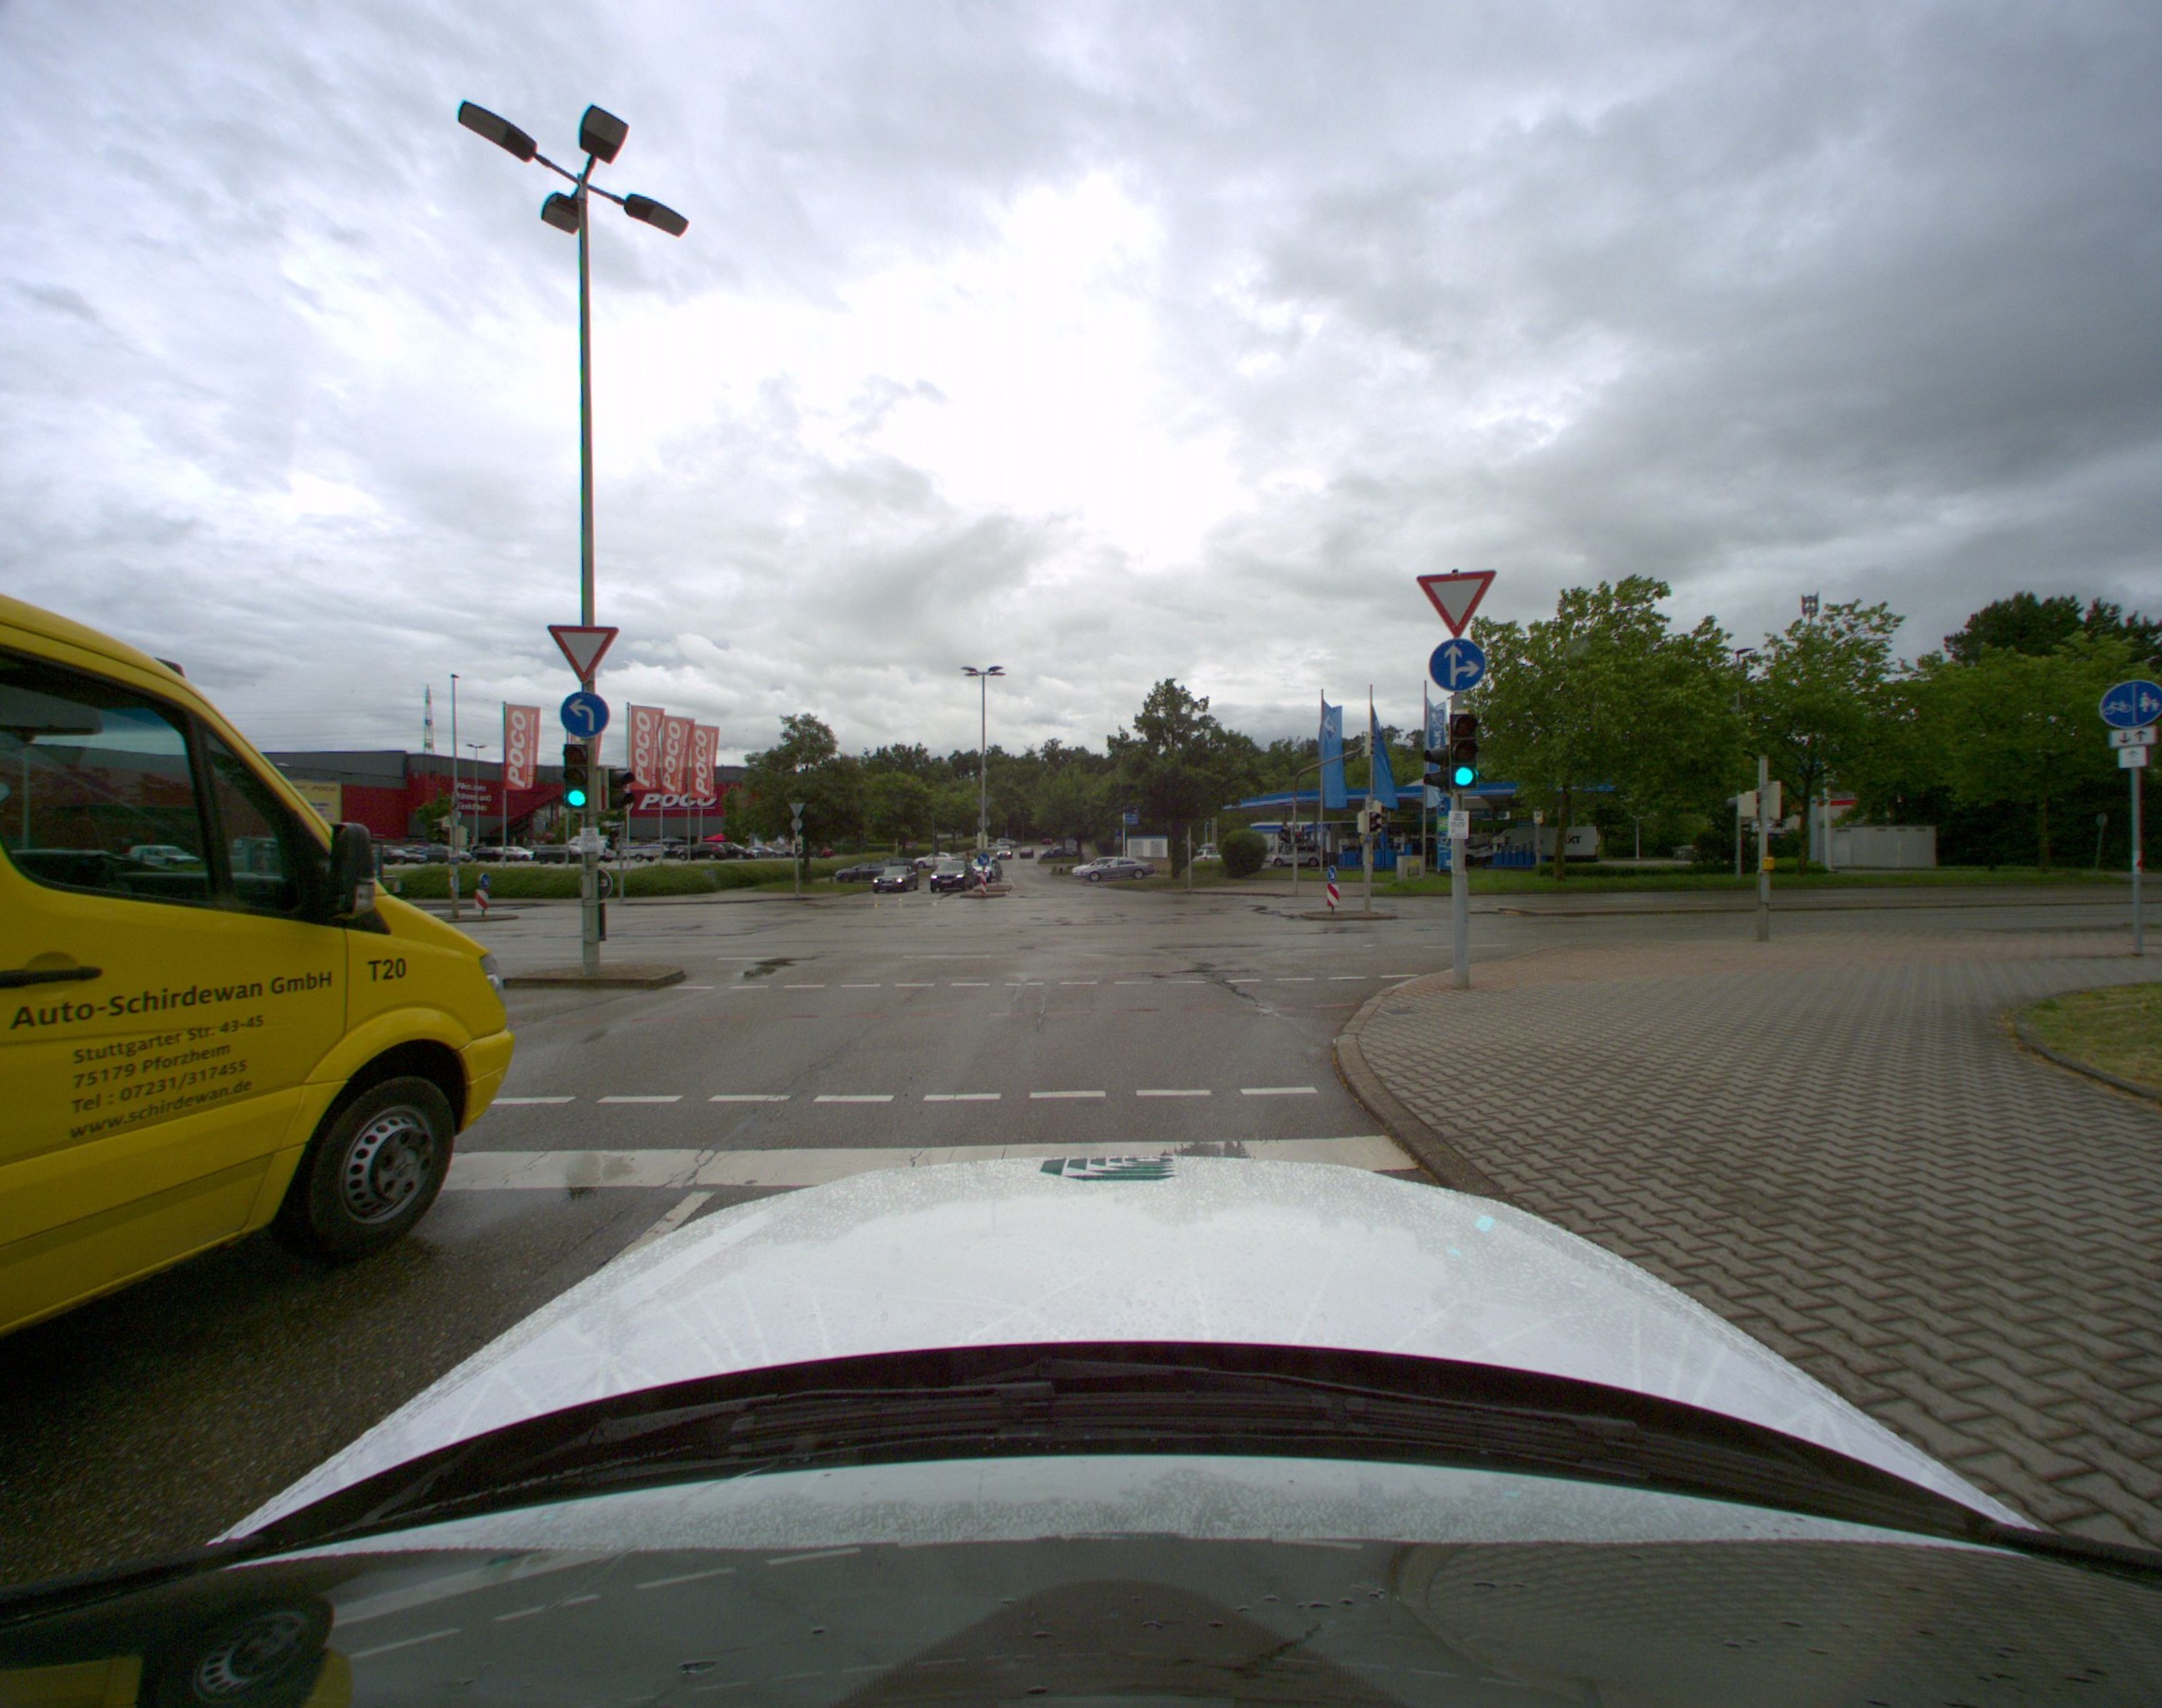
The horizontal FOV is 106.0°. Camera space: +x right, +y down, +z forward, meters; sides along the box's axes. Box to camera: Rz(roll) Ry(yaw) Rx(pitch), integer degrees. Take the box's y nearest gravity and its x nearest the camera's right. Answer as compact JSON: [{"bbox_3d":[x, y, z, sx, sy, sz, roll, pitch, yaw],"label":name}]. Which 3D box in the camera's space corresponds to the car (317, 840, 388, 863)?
[{"bbox_3d":[-55.775,-0.183,62.382,3.933,1.645,1.674,-1,-1,3],"label":"car"}]

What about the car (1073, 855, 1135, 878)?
[{"bbox_3d":[1.715,0.930,61.719,4.565,1.589,1.926,-1,-1,-5],"label":"car"}]

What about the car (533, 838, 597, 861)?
[{"bbox_3d":[-39.107,-0.349,61.744,3.798,1.645,1.674,-1,-1,3],"label":"car"}]

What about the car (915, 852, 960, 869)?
[{"bbox_3d":[-14.686,0.658,83.638,4.260,1.609,1.684,-1,-1,-2],"label":"car"}]

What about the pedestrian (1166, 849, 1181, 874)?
[{"bbox_3d":[6.340,0.494,55.757,0.808,1.661,0.884,-1,-1,-8],"label":"pedestrian"}]

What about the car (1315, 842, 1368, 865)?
[{"bbox_3d":[21.763,-0.024,68.027,3.949,1.728,1.806,-2,-1,29],"label":"car"}]

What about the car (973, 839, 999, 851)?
[{"bbox_3d":[-14.714,-1.398,126.322,3.980,1.794,1.853,-1,-1,-5],"label":"car"}]

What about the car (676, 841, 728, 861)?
[{"bbox_3d":[-33.378,-0.266,71.719,3.798,1.645,1.674,-1,-1,3],"label":"car"}]

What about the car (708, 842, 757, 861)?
[{"bbox_3d":[-32.806,-0.208,76.706,3.798,1.645,1.674,-1,-1,3],"label":"car"}]

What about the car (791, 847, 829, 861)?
[{"bbox_3d":[-31.934,0.028,95.981,3.798,1.645,1.674,-1,-1,3],"label":"car"}]

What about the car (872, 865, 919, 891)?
[{"bbox_3d":[-10.313,1.309,45.528,1.778,1.404,3.998,-1,-1,-1],"label":"car"}]

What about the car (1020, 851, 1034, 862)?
[{"bbox_3d":[-7.248,0.336,109.925,1.804,1.482,3.746,-1,-1,-4],"label":"car"}]

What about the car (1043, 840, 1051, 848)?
[{"bbox_3d":[-7.643,-2.227,183.876,1.800,1.739,3.996,-1,-1,-3],"label":"car"}]

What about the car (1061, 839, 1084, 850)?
[{"bbox_3d":[-1.522,-1.671,144.519,3.979,1.739,1.808,-1,-1,-4],"label":"car"}]

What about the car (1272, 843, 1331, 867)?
[{"bbox_3d":[17.472,0.108,64.678,4.075,1.808,1.958,-2,-1,32],"label":"car"}]

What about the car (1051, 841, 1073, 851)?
[{"bbox_3d":[-3.529,-1.557,152.002,3.979,1.739,1.808,-1,-1,-4],"label":"car"}]

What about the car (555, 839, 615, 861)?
[{"bbox_3d":[-39.404,-0.309,64.715,3.798,1.645,1.634,-1,-1,3],"label":"car"}]

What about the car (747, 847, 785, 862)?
[{"bbox_3d":[-37.319,0.069,96.380,3.798,1.645,1.674,-1,-1,3],"label":"car"}]

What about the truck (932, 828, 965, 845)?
[{"bbox_3d":[-31.015,-4.059,190.864,7.337,3.861,2.780,-1,-1,2],"label":"truck"}]

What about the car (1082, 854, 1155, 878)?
[{"bbox_3d":[2.567,0.857,56.430,4.878,1.549,1.996,-1,-1,-5],"label":"car"}]

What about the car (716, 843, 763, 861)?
[{"bbox_3d":[-33.274,-0.170,79.437,3.798,1.645,1.674,-1,-1,3],"label":"car"}]

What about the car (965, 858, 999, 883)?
[{"bbox_3d":[-6.752,1.100,55.886,1.890,1.553,3.998,-1,0,-1],"label":"car"}]

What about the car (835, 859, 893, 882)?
[{"bbox_3d":[-15.128,1.134,56.808,3.643,1.553,1.682,-1,-1,-5],"label":"car"}]

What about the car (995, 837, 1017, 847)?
[{"bbox_3d":[-14.412,-2.393,156.989,3.974,1.794,1.856,-1,-1,0],"label":"car"}]

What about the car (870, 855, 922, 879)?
[{"bbox_3d":[-14.156,1.004,62.427,3.643,1.724,1.682,-1,-1,-5],"label":"car"}]

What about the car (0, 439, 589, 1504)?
[{"bbox_3d":[-3.633,0.279,1.630,2.232,2.474,5.013,-1,-2,0],"label":"car"}]

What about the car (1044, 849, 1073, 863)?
[{"bbox_3d":[-2.758,0.219,97.897,3.452,1.654,1.614,0,-1,-3],"label":"car"}]

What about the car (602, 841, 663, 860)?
[{"bbox_3d":[-35.477,-0.260,64.510,3.880,1.381,1.674,-1,-1,3],"label":"car"}]

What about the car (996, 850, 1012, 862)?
[{"bbox_3d":[-10.158,0.292,107.445,1.692,1.456,3.671,-1,-1,-1],"label":"car"}]

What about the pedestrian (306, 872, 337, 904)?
[{"bbox_3d":[-34.344,1.519,36.847,0.637,1.431,0.781,-1,-2,-1],"label":"pedestrian"}]

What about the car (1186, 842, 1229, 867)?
[{"bbox_3d":[9.334,0.043,60.234,1.811,1.797,3.681,0,-1,-15],"label":"car"}]

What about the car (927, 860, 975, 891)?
[{"bbox_3d":[-6.930,1.113,43.908,1.890,1.553,4.589,-1,-1,-1],"label":"car"}]

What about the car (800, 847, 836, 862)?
[{"bbox_3d":[-31.895,0.063,98.768,3.798,1.645,1.674,-1,-1,3],"label":"car"}]

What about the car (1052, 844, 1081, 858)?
[{"bbox_3d":[-1.849,-0.324,104.476,3.690,1.750,1.695,0,-1,-4],"label":"car"}]

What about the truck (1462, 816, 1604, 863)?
[{"bbox_3d":[29.062,-0.862,52.690,7.774,2.675,2.168,-2,-2,27],"label":"truck"}]

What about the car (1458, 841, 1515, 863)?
[{"bbox_3d":[29.023,-0.152,58.304,3.517,1.582,1.700,1,0,34],"label":"car"}]
